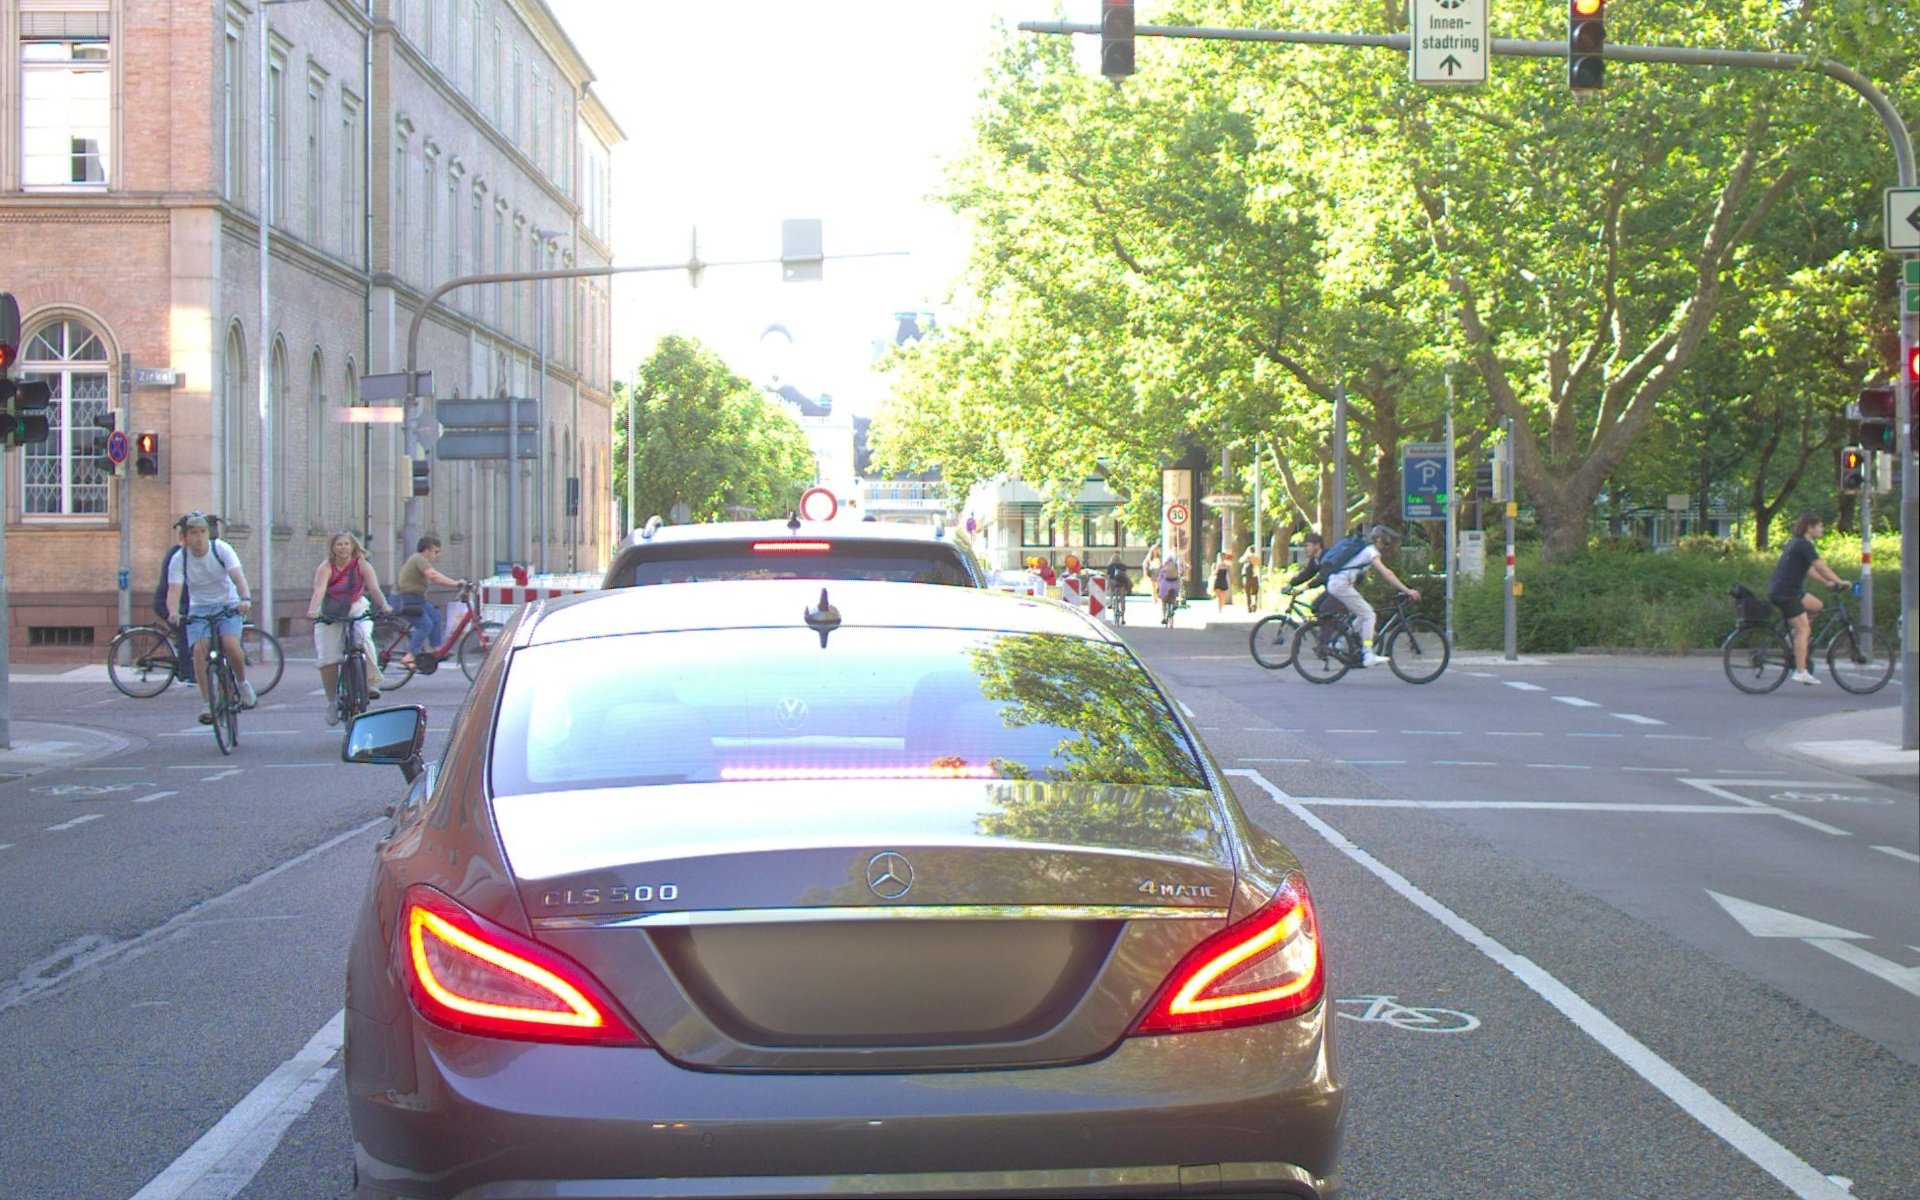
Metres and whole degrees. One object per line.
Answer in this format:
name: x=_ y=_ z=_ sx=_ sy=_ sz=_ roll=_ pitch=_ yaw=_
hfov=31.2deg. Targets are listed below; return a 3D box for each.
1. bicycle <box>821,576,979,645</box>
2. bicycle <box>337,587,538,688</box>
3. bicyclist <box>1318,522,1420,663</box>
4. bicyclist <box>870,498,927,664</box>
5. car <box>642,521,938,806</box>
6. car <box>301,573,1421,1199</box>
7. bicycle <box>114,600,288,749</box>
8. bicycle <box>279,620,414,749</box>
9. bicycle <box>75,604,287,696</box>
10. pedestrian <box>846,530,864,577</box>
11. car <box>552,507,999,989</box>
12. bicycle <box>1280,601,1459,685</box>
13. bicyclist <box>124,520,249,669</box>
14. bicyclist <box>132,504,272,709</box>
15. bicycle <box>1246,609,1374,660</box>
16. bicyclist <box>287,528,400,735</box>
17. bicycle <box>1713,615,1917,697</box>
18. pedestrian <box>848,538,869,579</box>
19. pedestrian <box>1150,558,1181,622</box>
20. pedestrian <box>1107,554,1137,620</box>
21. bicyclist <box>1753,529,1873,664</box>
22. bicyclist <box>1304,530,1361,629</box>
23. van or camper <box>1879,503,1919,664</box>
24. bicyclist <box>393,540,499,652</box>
bicycle: x=-0.740 y=0.126 z=42.033 sx=1.891 sy=0.834 sz=0.458 roll=0 pitch=1 yaw=-8
bicycle: x=-5.431 y=0.381 z=35.780 sx=1.980 sy=1.024 sz=0.651 roll=0 pitch=1 yaw=2
bicyclist: x=4.457 y=-0.089 z=37.506 sx=1.075 sy=1.514 sz=0.716 roll=0 pitch=1 yaw=5
bicyclist: x=-0.751 y=-0.233 z=42.018 sx=0.652 sy=2.007 sz=0.440 roll=0 pitch=1 yaw=-8
car: x=-1.075 y=0.359 z=23.253 sx=1.820 sy=1.756 sz=4.000 roll=0 pitch=1 yaw=-1
car: x=-0.430 y=0.691 z=7.676 sx=1.803 sy=1.451 sz=4.352 roll=0 pitch=1 yaw=-8
bicycle: x=-5.826 y=0.556 z=26.501 sx=0.863 sy=1.075 sz=1.836 roll=0 pitch=1 yaw=2
bicycle: x=-4.757 y=0.640 z=26.775 sx=0.693 sy=0.926 sz=1.863 roll=0 pitch=1 yaw=1
bicycle: x=-7.863 y=0.504 z=34.751 sx=1.986 sy=0.900 sz=0.734 roll=0 pitch=1 yaw=0
pedestrian: x=-4.238 y=-1.879 z=138.815 sx=0.721 sy=1.895 sz=0.704 roll=0 pitch=1 yaw=-1
car: x=-0.722 y=0.478 z=13.742 sx=1.517 sy=1.641 sz=3.881 roll=1 pitch=1 yaw=-3
bicycle: x=4.455 y=0.464 z=37.519 sx=1.893 sy=0.879 sz=0.725 roll=0 pitch=1 yaw=4
bicyclist: x=-7.814 y=-0.063 z=34.768 sx=1.116 sy=1.485 sz=0.712 roll=0 pitch=1 yaw=-1
bicyclist: x=-5.829 y=0.042 z=26.471 sx=0.842 sy=1.549 sz=0.839 roll=0 pitch=1 yaw=5
bicycle: x=4.441 y=0.441 z=43.693 sx=1.587 sy=0.632 sz=0.496 roll=0 pitch=1 yaw=3
bicyclist: x=-4.771 y=0.232 z=26.637 sx=0.685 sy=1.572 sz=0.982 roll=0 pitch=1 yaw=1
bicycle: x=8.937 y=0.578 z=35.970 sx=1.974 sy=0.834 sz=0.676 roll=0 pitch=1 yaw=2
pedestrian: x=-3.902 y=-1.587 z=131.928 sx=0.801 sy=1.571 sz=0.845 roll=0 pitch=1 yaw=-1
pedestrian: x=4.634 y=-0.227 z=77.631 sx=0.648 sy=1.428 sz=0.659 roll=0 pitch=1 yaw=-1
pedestrian: x=3.678 y=-0.293 z=77.958 sx=0.648 sy=1.498 sz=0.637 roll=0 pitch=1 yaw=-1
bicyclist: x=8.915 y=-0.043 z=35.963 sx=1.103 sy=1.398 sz=0.657 roll=0 pitch=1 yaw=2
bicyclist: x=4.735 y=-0.264 z=43.706 sx=0.704 sy=1.256 sz=0.457 roll=0 pitch=1 yaw=4
van or camper: x=13.800 y=-0.202 z=42.242 sx=4.580 sy=1.935 sz=2.000 roll=0 pitch=1 yaw=7
bicyclist: x=-5.339 y=-0.045 z=35.760 sx=0.991 sy=1.150 sz=0.620 roll=0 pitch=1 yaw=2
